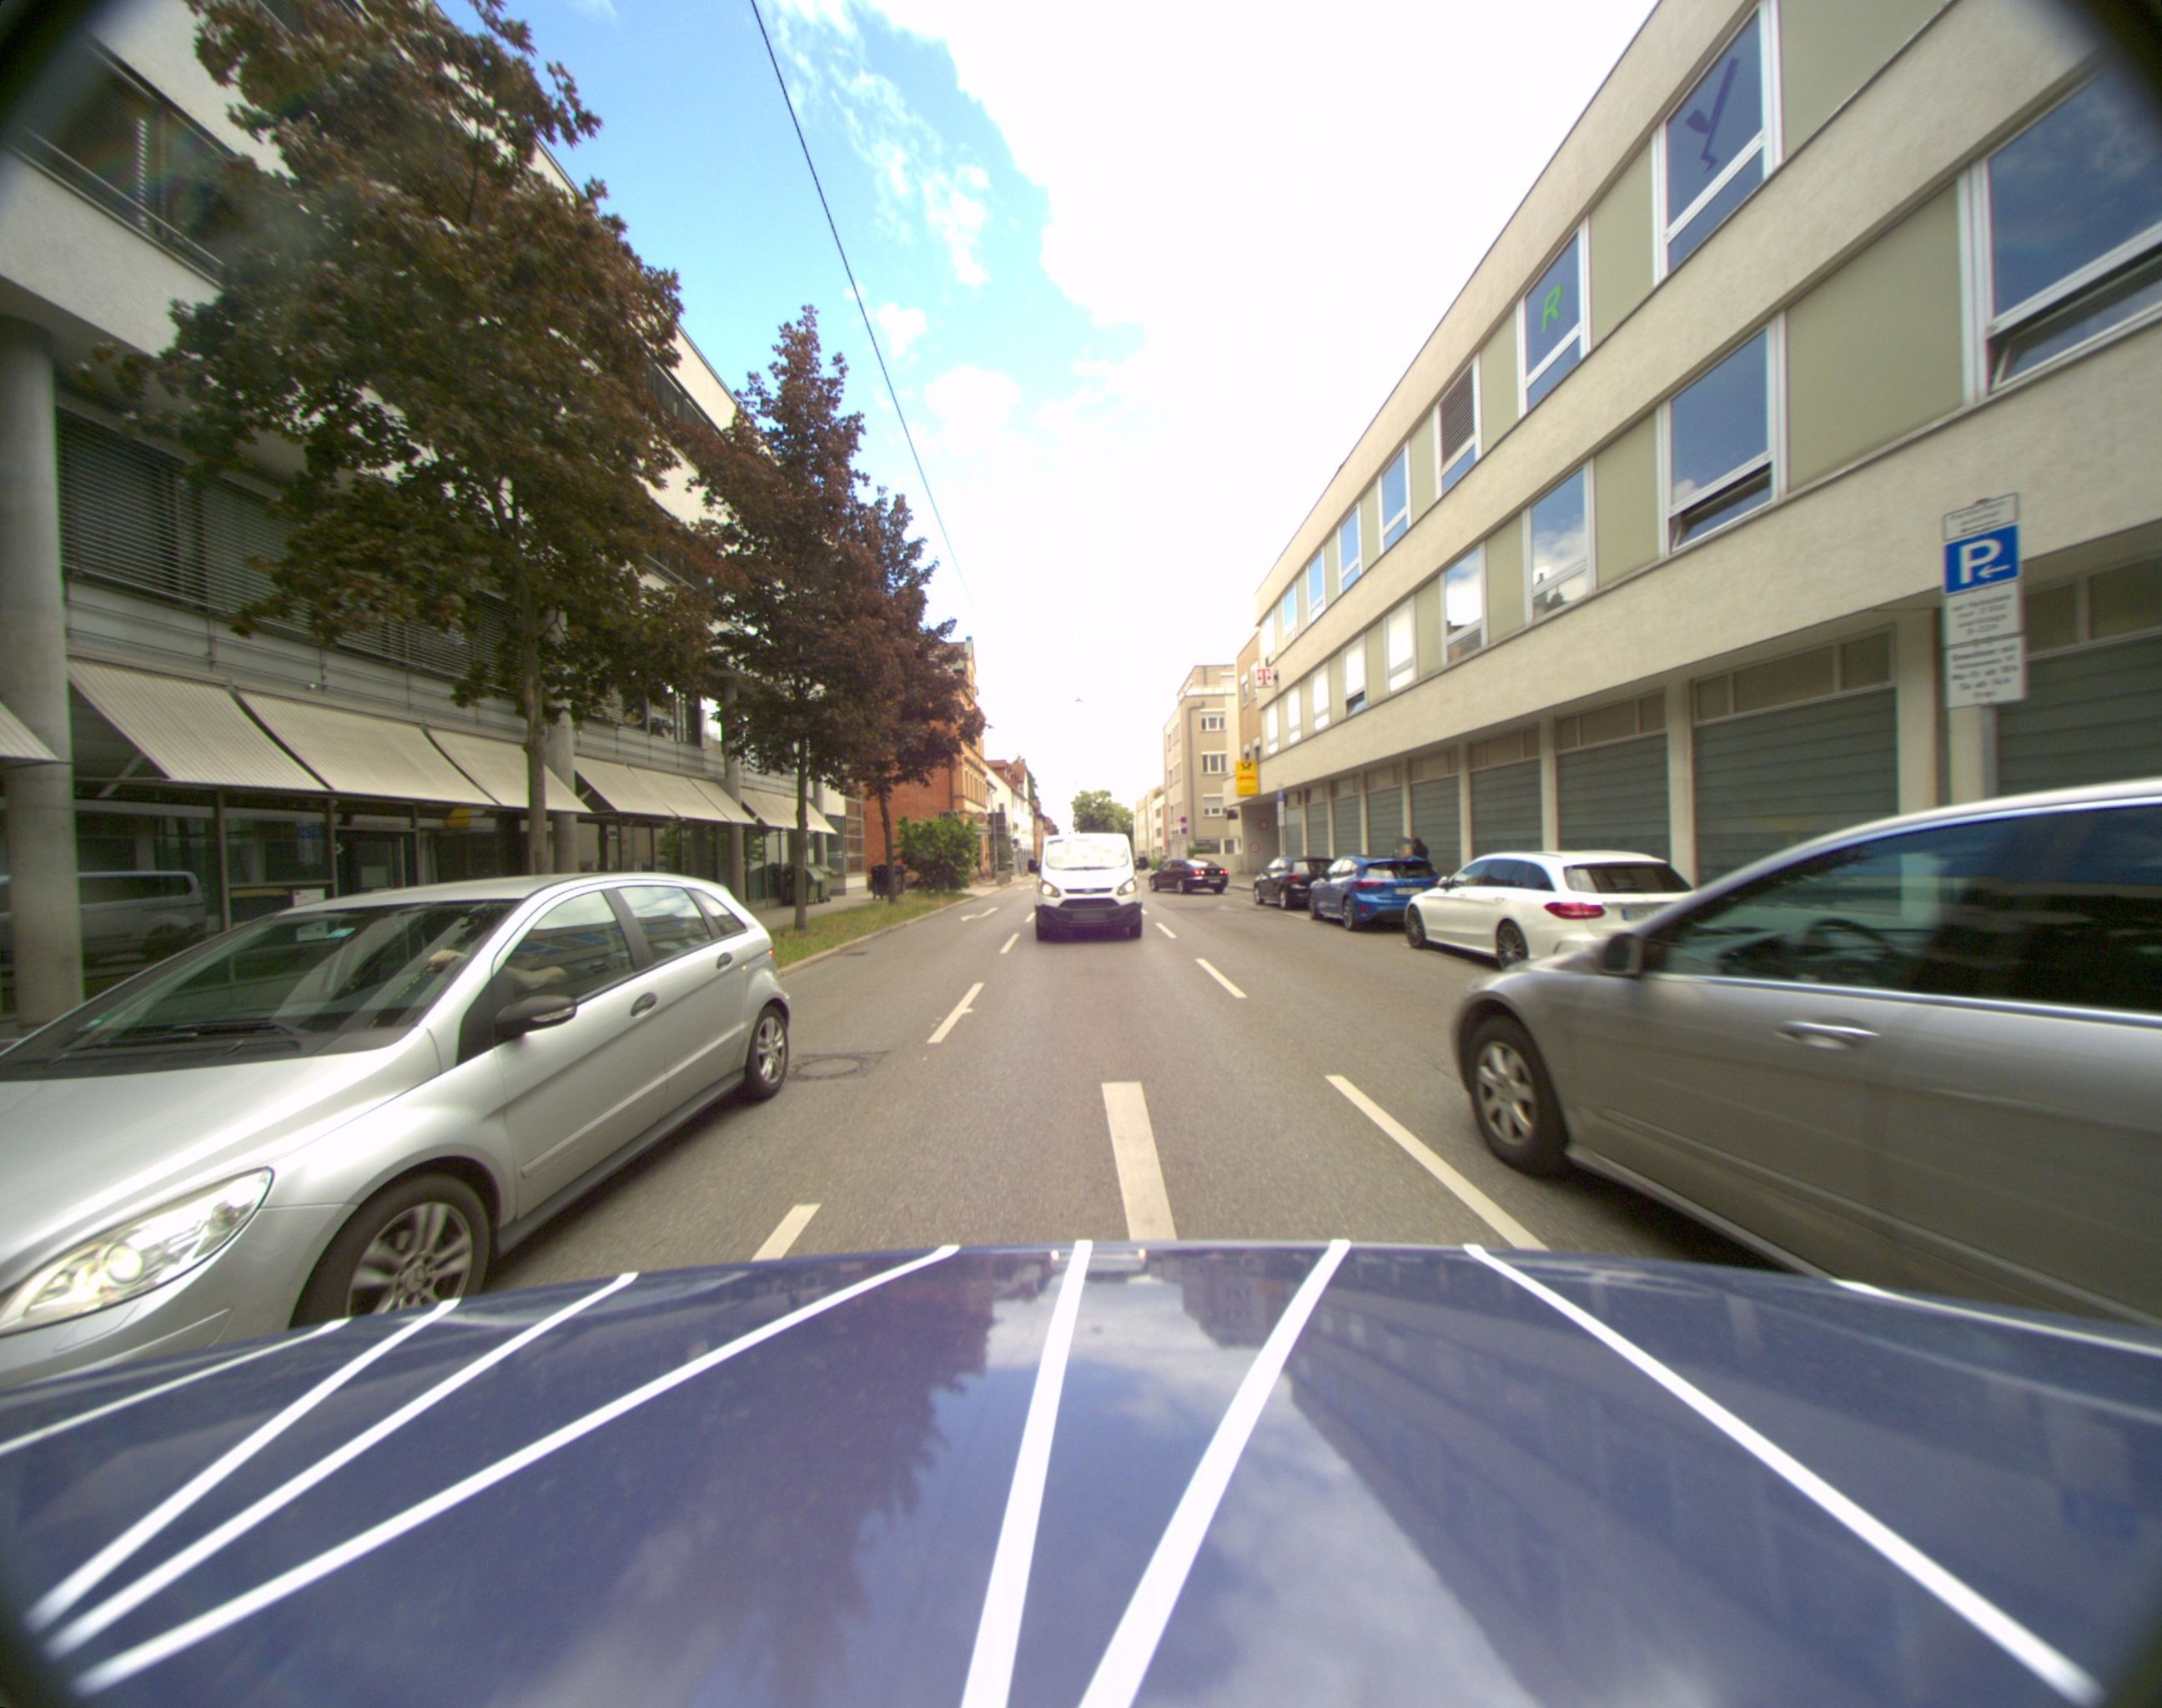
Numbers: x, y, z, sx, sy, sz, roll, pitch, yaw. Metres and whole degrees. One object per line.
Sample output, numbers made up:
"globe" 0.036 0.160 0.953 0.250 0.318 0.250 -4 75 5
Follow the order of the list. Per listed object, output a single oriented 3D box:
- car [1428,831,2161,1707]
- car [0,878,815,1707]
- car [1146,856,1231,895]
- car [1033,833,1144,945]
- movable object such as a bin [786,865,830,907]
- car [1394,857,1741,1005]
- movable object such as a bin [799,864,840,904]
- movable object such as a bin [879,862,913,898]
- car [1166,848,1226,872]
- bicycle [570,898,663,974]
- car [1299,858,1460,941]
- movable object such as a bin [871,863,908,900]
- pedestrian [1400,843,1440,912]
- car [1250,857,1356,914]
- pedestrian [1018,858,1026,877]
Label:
"car" 2.792 0.755 1.814 1.780 1.622 4.768 -1 0 1
"car" -3.099 1.032 3.547 1.999 1.537 4.570 -4 0 0
"car" 4.247 0.818 30.743 1.658 1.390 4.447 -3 1 -16
"car" 0.055 0.630 16.455 1.965 1.986 5.086 -2 0 -2
"movable object such as a bin" -9.907 1.141 27.614 1.101 1.457 1.332 -1 1 -2
"car" 5.730 0.770 9.767 1.674 1.425 4.553 0 0 2
"movable object such as a bin" -9.949 1.130 28.974 1.125 1.457 1.332 -1 1 -2
"movable object such as a bin" -7.746 1.083 31.934 1.101 1.457 1.332 -1 1 -2
"car" 10.251 0.551 68.176 5.083 1.986 1.966 -2 0 2
"bicycle" -8.024 1.378 13.238 0.362 1.080 2.027 -3 1 -2
"car" 5.882 0.815 15.547 1.819 1.417 4.265 0 0 3
"movable object such as a bin" -7.689 1.090 30.563 1.130 1.457 1.412 -1 1 -2
"pedestrian" 8.609 0.585 19.296 0.592 1.708 0.648 -2 1 -31
"car" 6.076 0.799 21.243 1.721 1.417 3.869 0 0 -2
"pedestrian" -5.507 1.286 71.196 0.690 1.721 0.649 -2 1 -2
